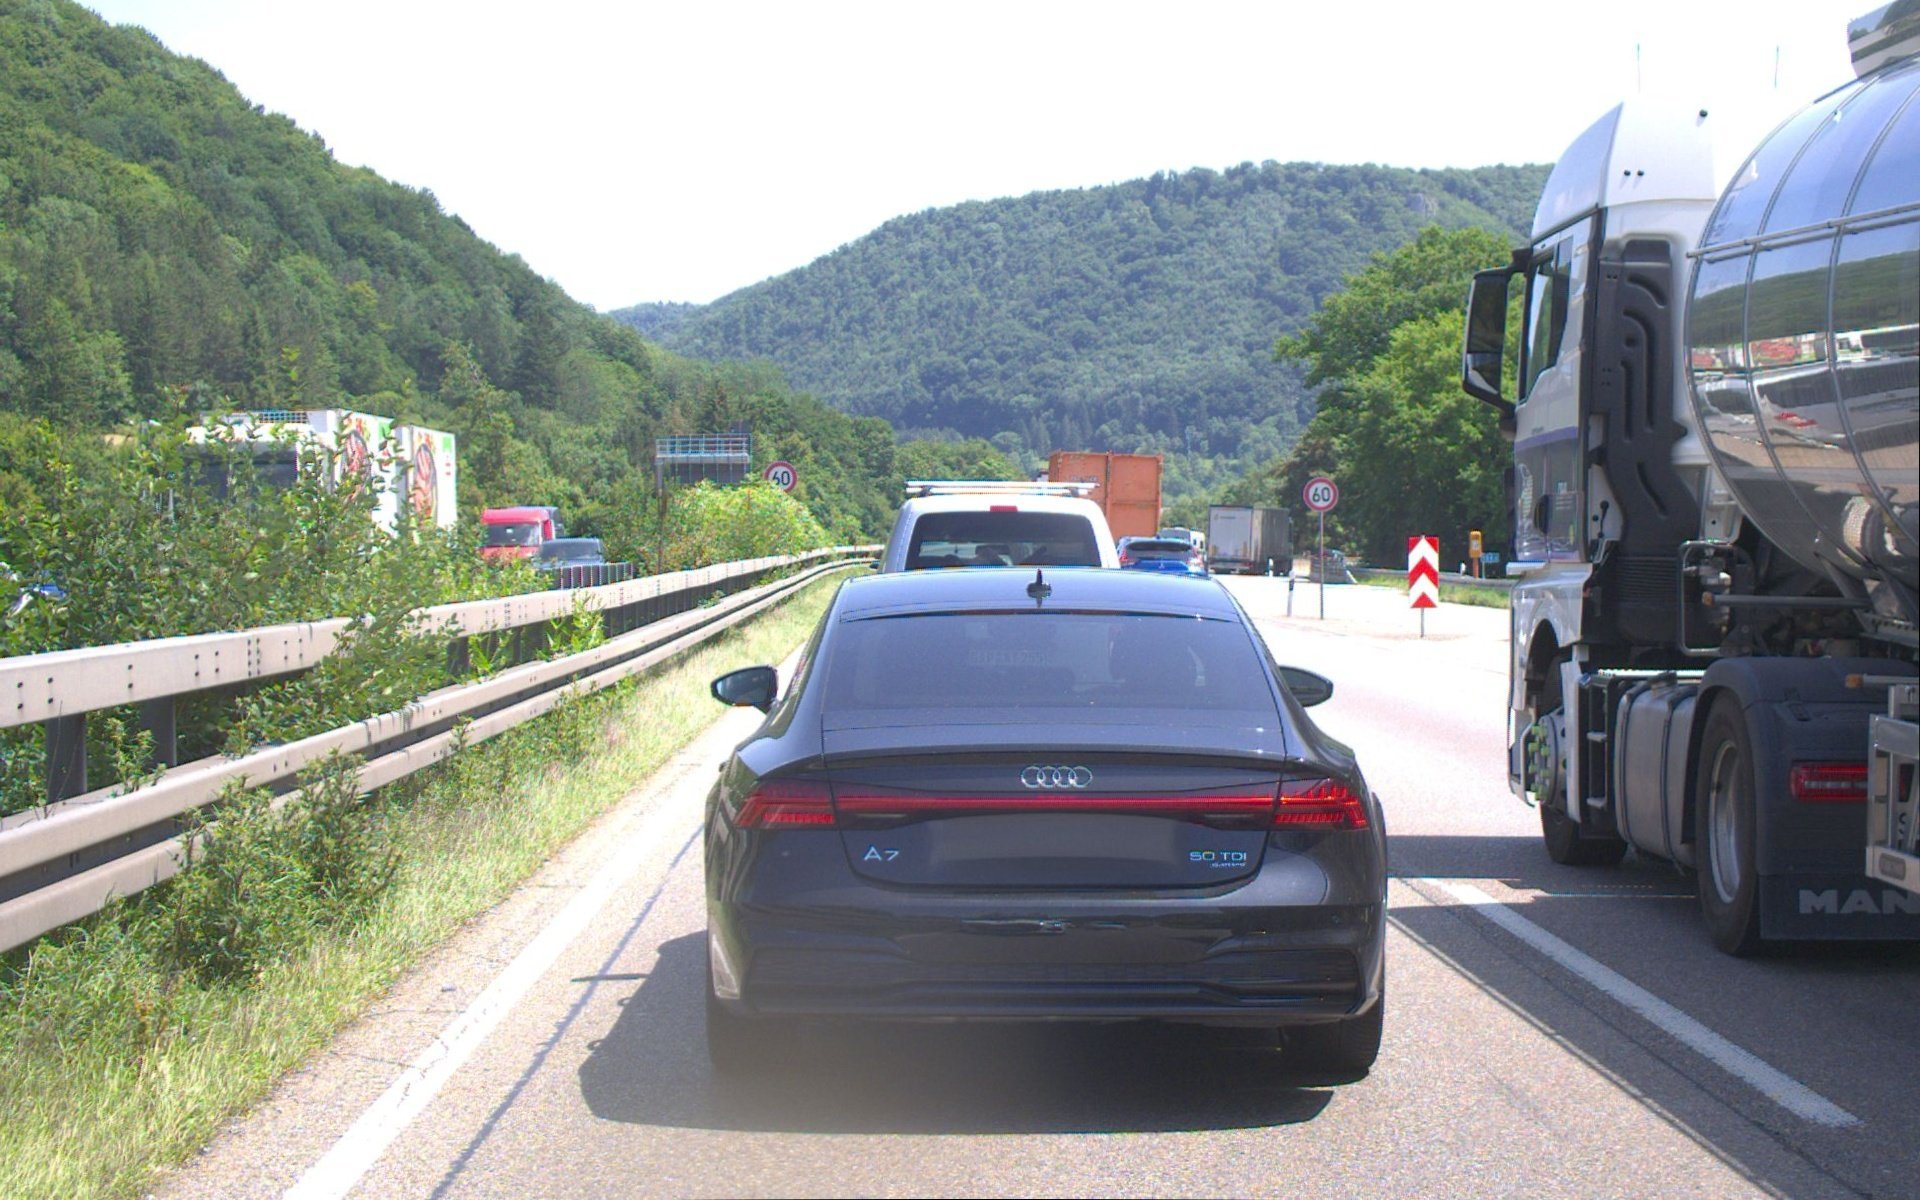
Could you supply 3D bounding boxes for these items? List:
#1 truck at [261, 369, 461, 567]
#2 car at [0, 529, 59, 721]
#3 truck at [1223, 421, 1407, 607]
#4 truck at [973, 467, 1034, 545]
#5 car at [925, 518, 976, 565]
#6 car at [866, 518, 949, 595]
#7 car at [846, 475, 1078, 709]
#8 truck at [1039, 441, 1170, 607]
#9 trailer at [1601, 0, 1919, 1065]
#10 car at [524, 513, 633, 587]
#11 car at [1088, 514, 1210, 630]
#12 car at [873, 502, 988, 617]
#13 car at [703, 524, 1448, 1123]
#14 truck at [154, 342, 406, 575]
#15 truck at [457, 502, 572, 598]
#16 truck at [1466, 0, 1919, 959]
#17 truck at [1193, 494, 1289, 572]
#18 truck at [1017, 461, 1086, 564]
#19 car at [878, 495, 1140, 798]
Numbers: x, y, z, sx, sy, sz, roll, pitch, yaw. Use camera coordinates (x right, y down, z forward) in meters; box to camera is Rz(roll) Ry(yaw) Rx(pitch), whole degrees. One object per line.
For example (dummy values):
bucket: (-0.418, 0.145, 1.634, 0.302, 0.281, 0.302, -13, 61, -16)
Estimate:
truck: (-12.759, -2.761, 74.015, 2.869, 3.967, 9.032, 0, 1, -1)
car: (-9.144, 0.209, 29.515, 1.769, 1.648, 4.000, 1, 1, 0)
truck: (8.222, -1.993, 81.512, 2.817, 3.989, 14.956, 1, 1, 0)
truck: (1.942, -4.256, 157.038, 2.628, 3.429, 11.421, 0, 1, 0)
car: (-0.325, -2.053, 120.393, 1.712, 1.613, 4.000, 0, 1, 1)
car: (-1.120, -0.969, 75.407, 1.712, 1.613, 4.000, 0, 1, 1)
car: (-0.004, -0.107, 31.750, 1.993, 2.007, 4.000, 0, 1, -1)
truck: (3.663, -1.974, 90.457, 2.817, 3.989, 14.956, 1, 1, 0)
trailer: (4.044, -0.499, 8.189, 2.538, 3.722, 11.893, 0, 1, -1)
car: (-8.824, -1.177, 79.808, 1.993, 1.635, 5.032, 0, 1, 0)
car: (3.376, -0.529, 62.004, 1.993, 1.996, 4.000, 0, 1, 1)
car: (-0.553, -0.745, 62.008, 1.993, 2.007, 4.000, 0, 1, -1)
car: (0.160, 0.519, 10.592, 1.849, 1.483, 4.083, 0, 1, -4)
truck: (-12.543, -2.540, 64.352, 2.869, 3.992, 10.172, 0, 1, -1)
truck: (-12.505, -1.434, 97.045, 2.296, 2.579, 7.968, 0, 1, -1)
truck: (3.913, -0.631, 14.960, 2.511, 3.745, 5.246, 0, 1, -1)
truck: (16.777, -3.965, 204.076, 3.795, 4.399, 14.948, 0, 1, 12)
truck: (3.148, -3.026, 120.417, 1.993, 3.435, 11.812, 0, 1, 0)
car: (0.275, 0.242, 22.866, 1.576, 1.827, 4.000, 0, 1, -1)
